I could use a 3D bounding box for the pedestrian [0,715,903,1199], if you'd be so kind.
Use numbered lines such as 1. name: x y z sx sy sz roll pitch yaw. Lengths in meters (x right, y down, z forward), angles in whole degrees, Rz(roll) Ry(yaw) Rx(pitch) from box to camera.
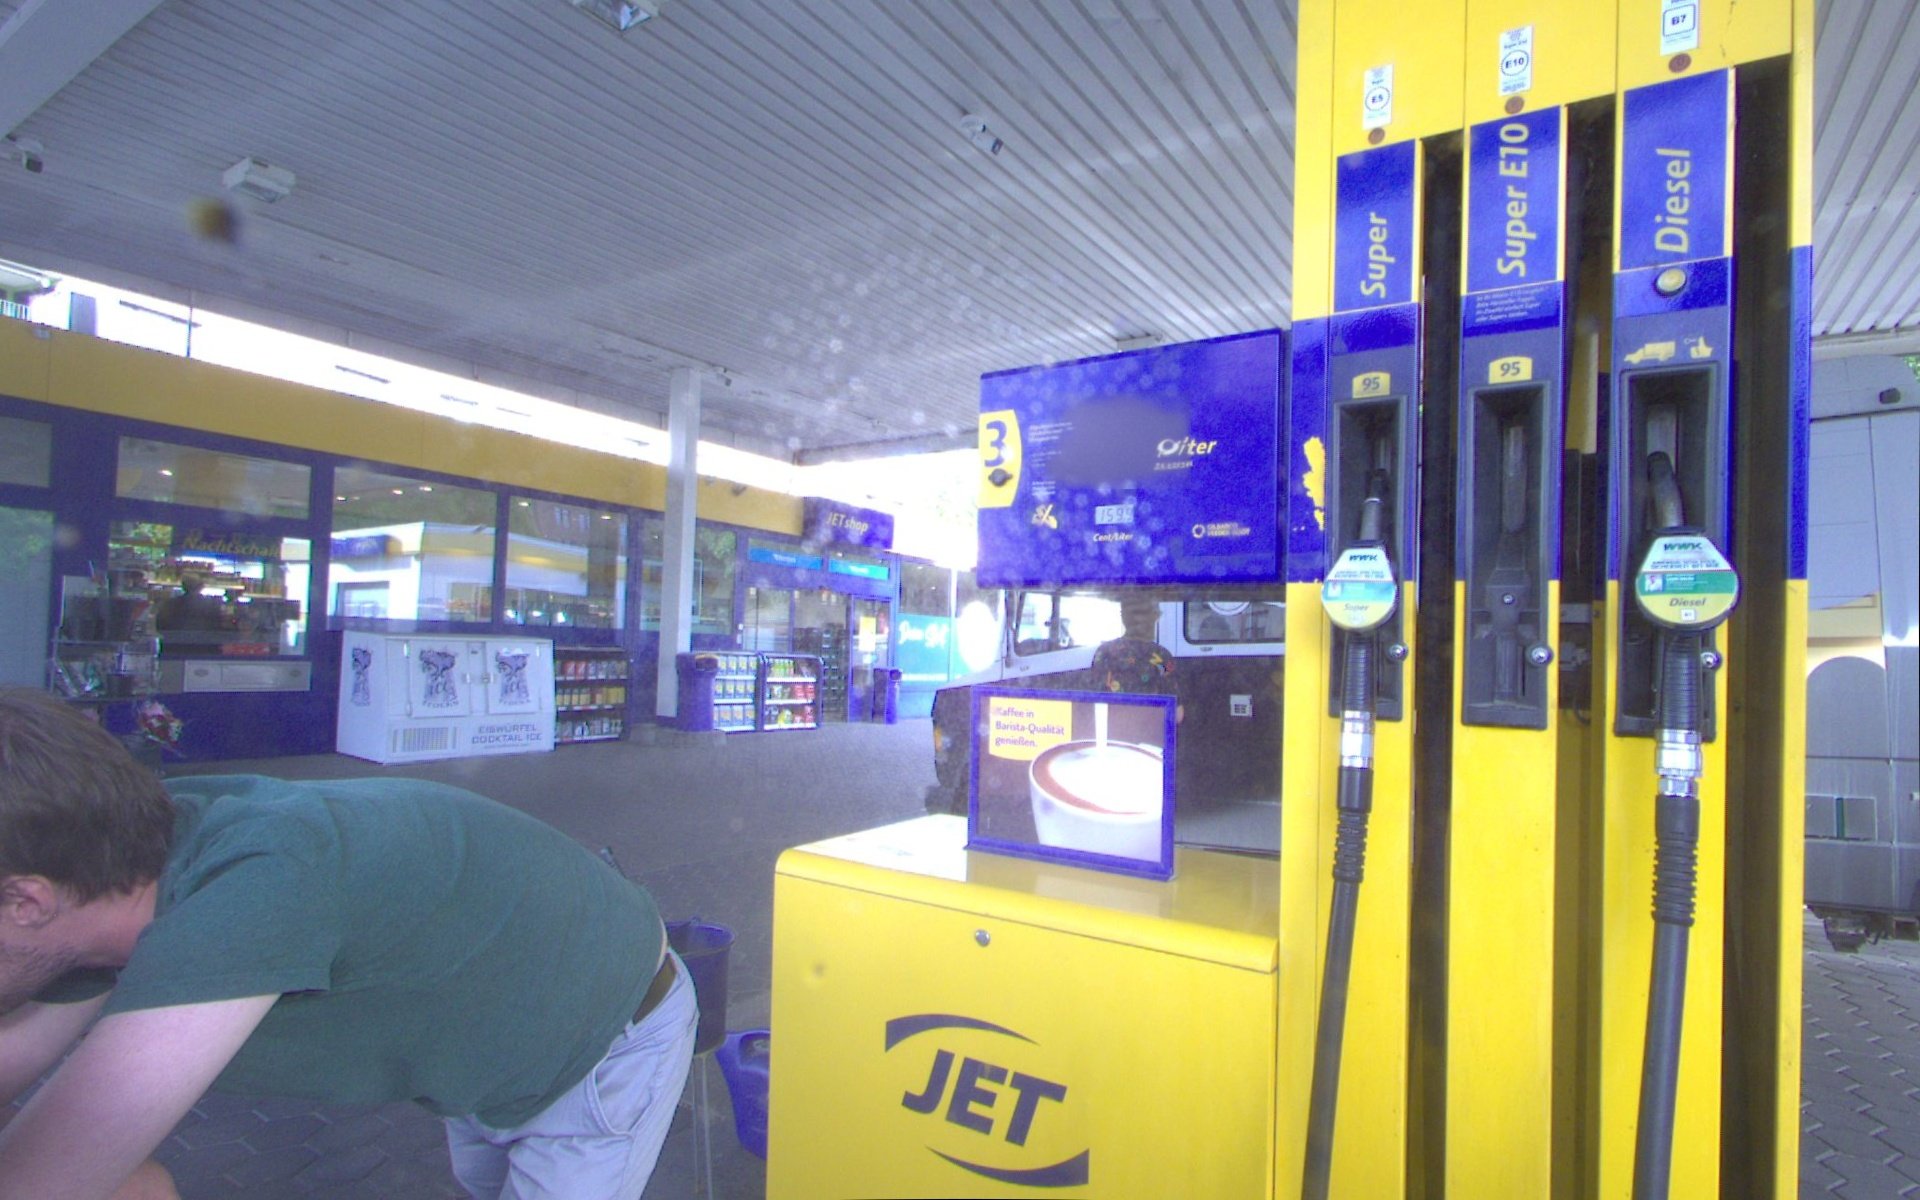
1. pedestrian: -0.543 0.812 1.068 0.664 1.298 0.749 -1 -1 31

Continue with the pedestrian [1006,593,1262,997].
1. pedestrian: 0.902 0.884 5.116 0.967 1.785 0.974 -1 -2 35

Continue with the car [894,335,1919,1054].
1. car: 2.380 0.417 6.013 5.219 2.724 2.250 0 -3 34
